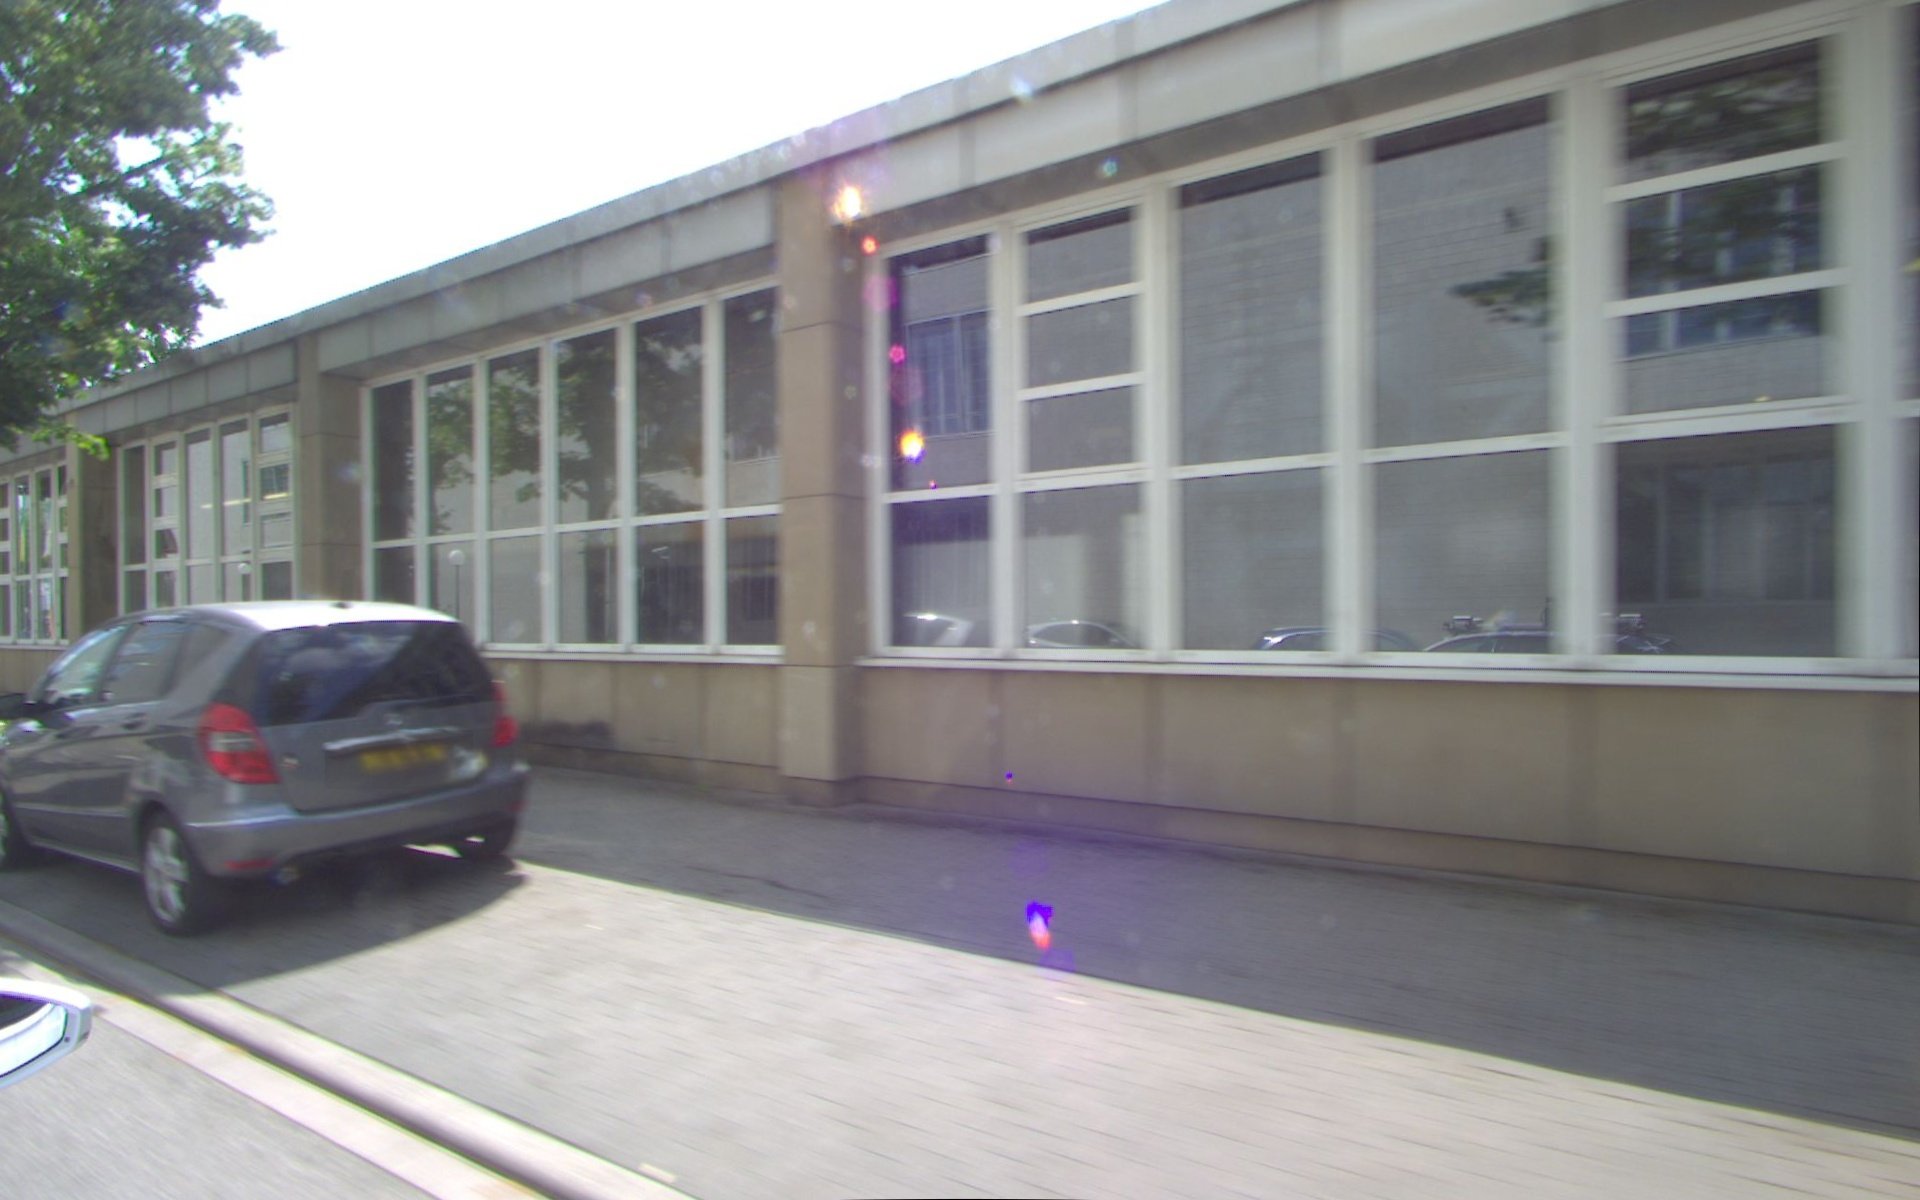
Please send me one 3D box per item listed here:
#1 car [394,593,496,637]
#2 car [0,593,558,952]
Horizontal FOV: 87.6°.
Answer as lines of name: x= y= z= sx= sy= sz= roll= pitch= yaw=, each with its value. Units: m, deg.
car: x=-18.991 y=0.564 z=36.918 sx=3.569 sy=1.573 sz=1.624 roll=-1 pitch=-1 yaw=29
car: x=-4.440 y=0.789 z=6.189 sx=3.763 sy=1.589 sz=1.752 roll=-1 pitch=0 yaw=32
